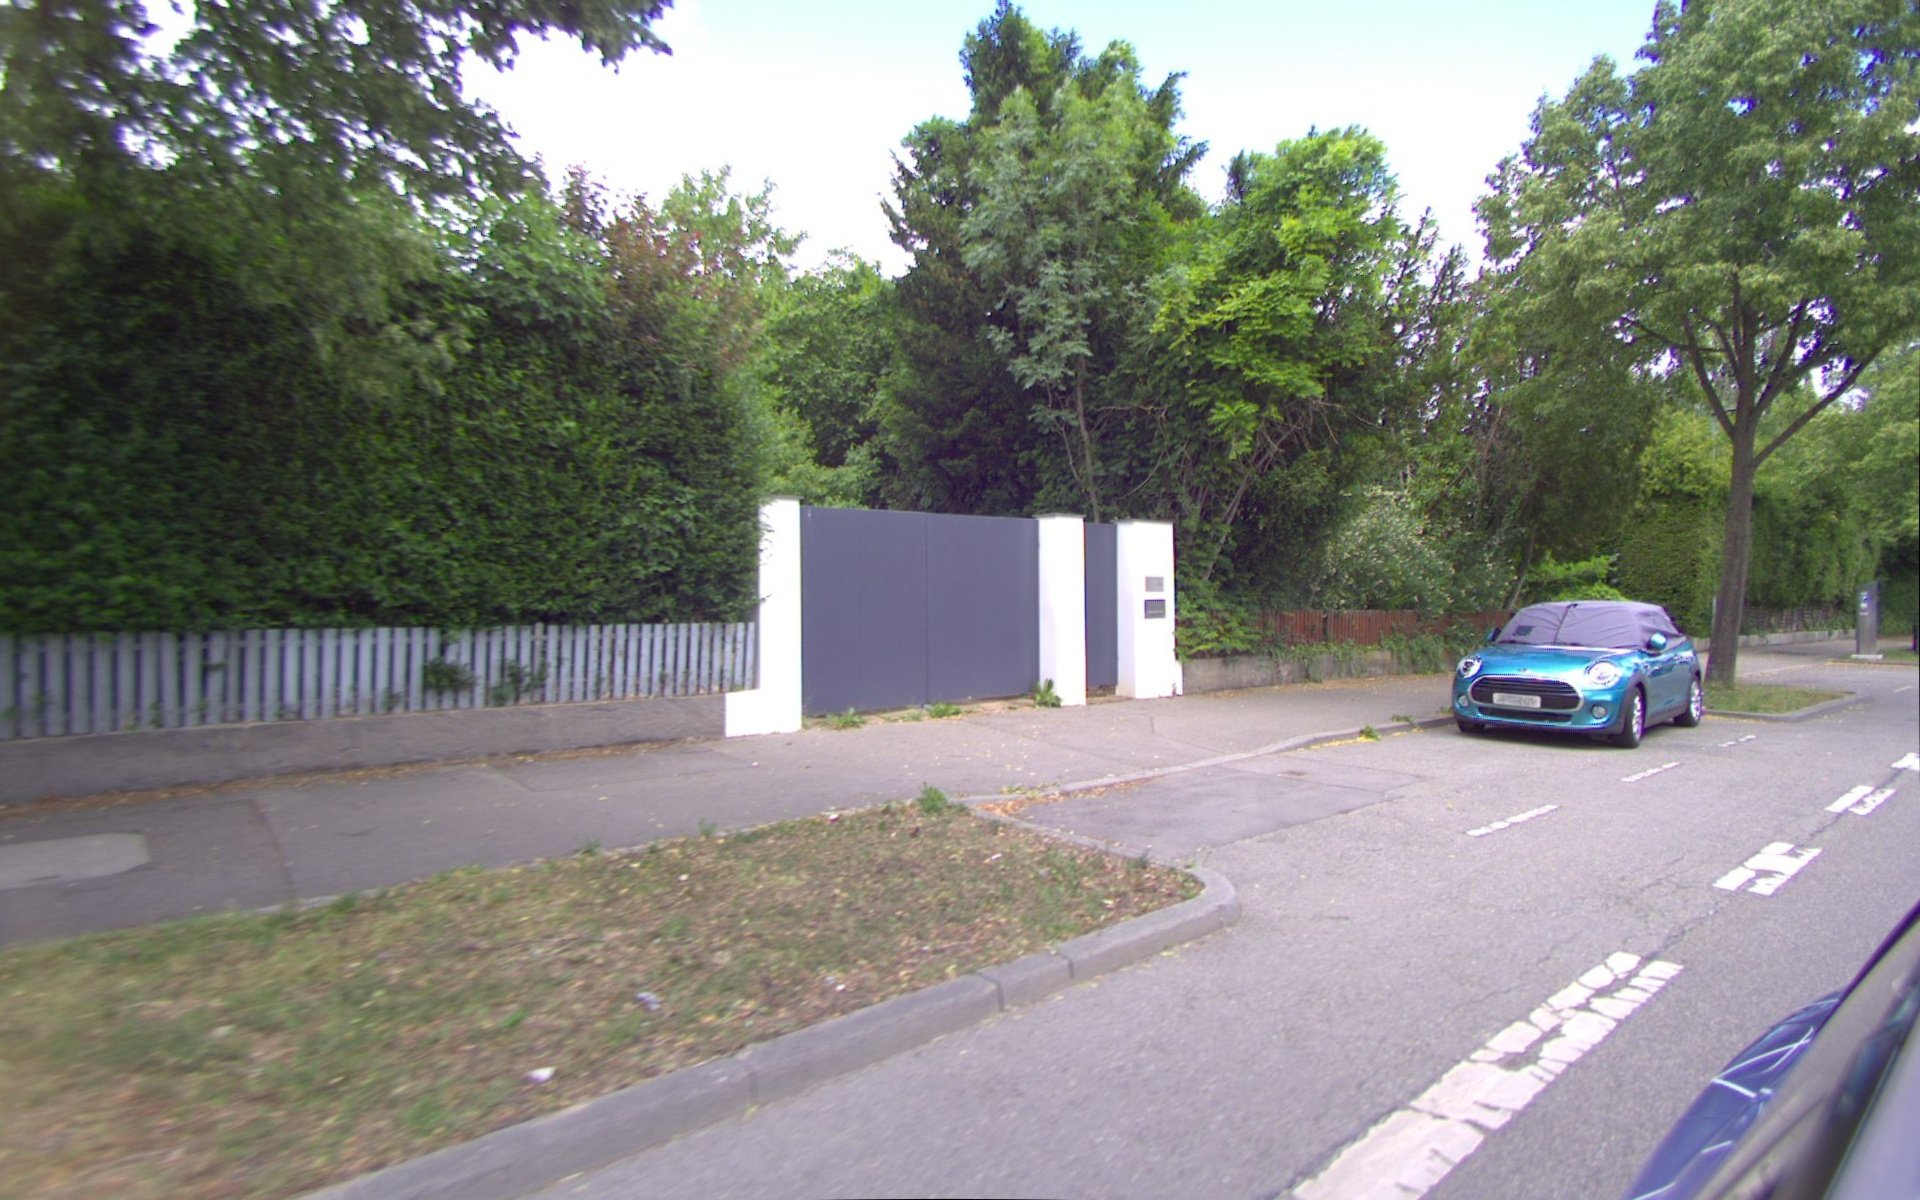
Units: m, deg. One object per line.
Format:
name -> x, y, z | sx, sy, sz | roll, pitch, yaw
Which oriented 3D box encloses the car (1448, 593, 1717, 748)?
car -> 6.983, 0.647, 11.213 | 3.596, 1.424, 1.664 | 0, 0, -43
